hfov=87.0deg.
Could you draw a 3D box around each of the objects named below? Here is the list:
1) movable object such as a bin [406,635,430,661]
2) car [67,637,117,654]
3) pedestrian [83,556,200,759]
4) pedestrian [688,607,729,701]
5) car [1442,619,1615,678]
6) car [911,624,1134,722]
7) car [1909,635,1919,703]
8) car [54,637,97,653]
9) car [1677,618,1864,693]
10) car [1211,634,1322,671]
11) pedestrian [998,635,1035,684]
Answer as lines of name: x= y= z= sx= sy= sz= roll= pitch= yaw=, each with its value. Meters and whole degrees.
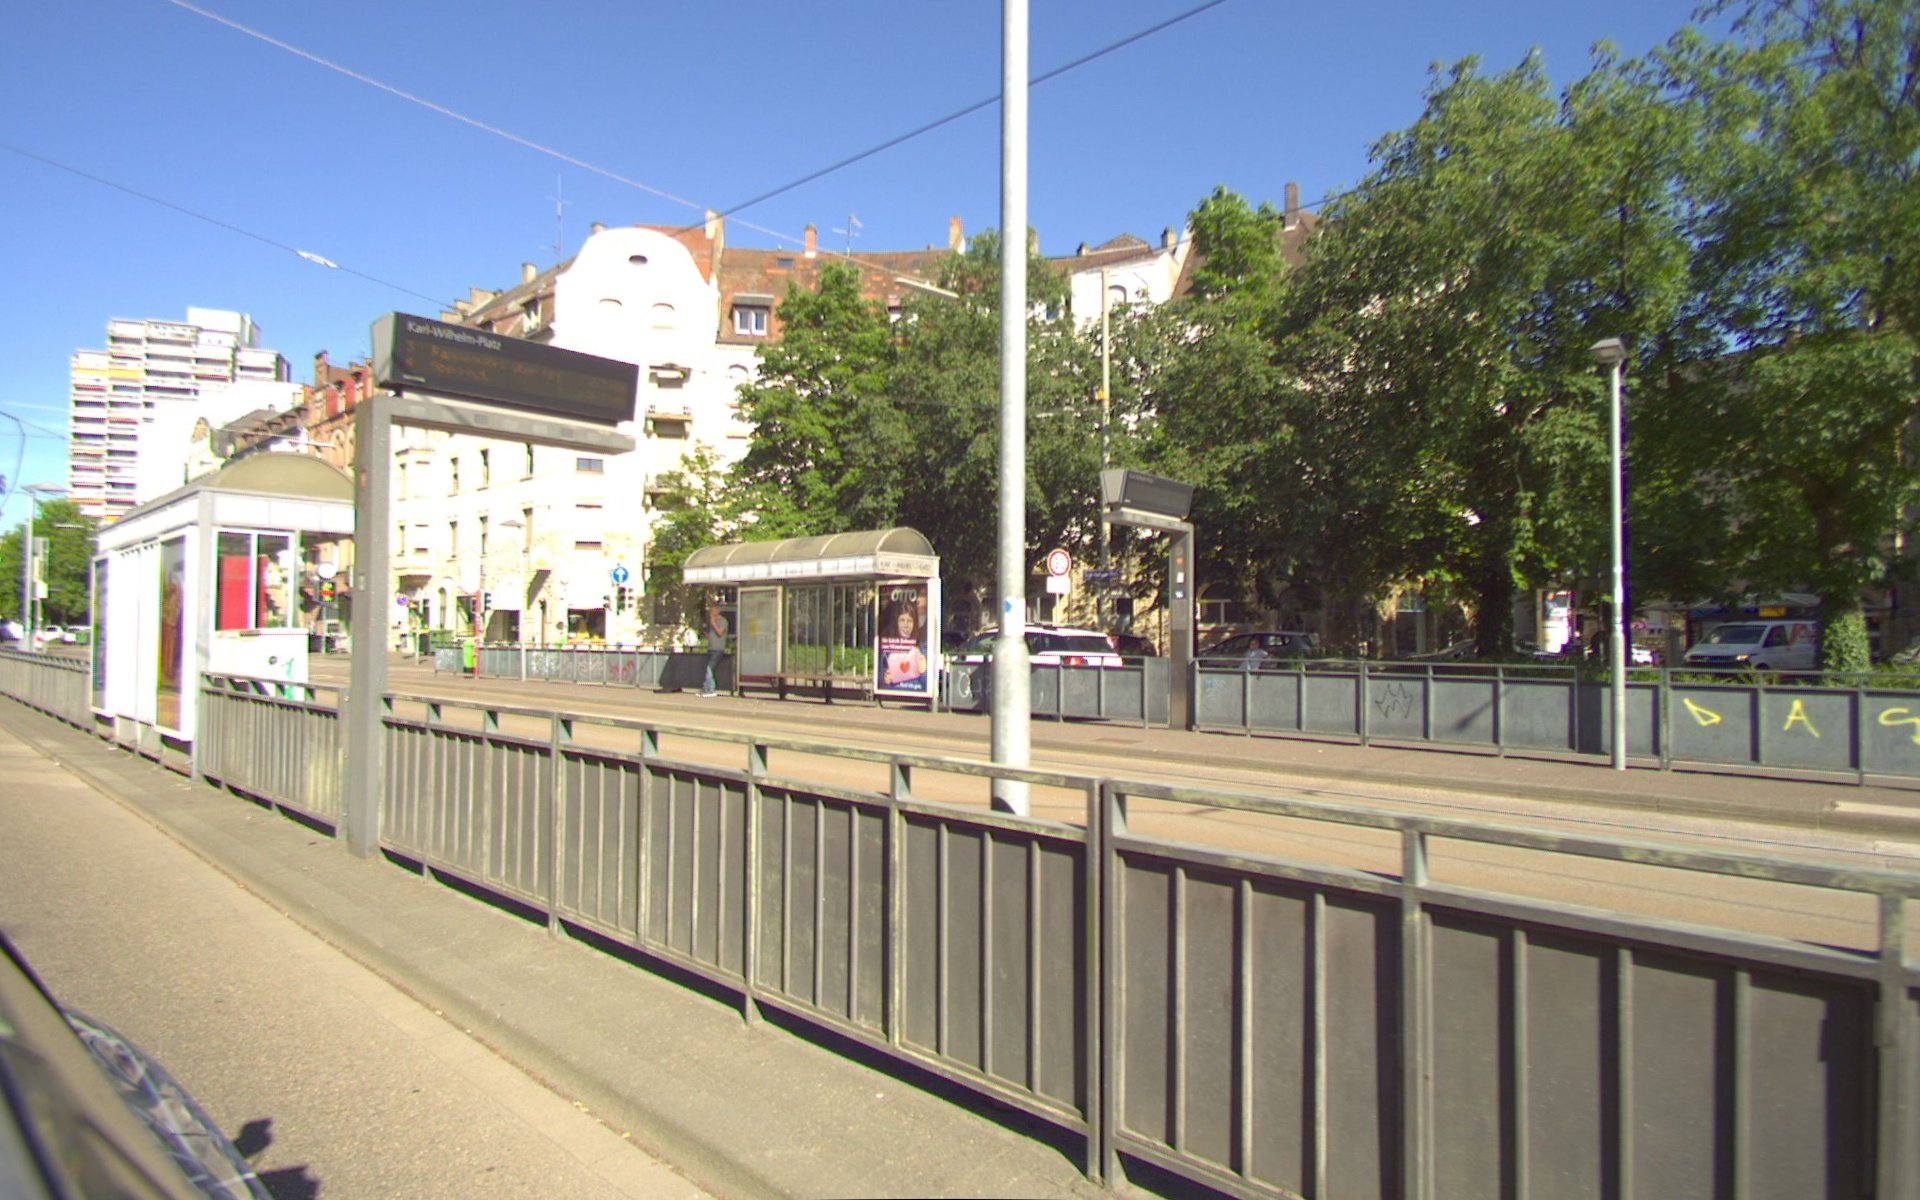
movable object such as a bin: x=-27.690 y=2.437 z=51.685 sx=0.747 sy=1.318 sz=0.867 roll=-2 pitch=-1 yaw=36
car: x=-81.310 y=4.252 z=94.836 sx=3.168 sy=1.431 sz=1.574 roll=-1 pitch=-1 yaw=-16
pedestrian: x=-8.080 y=0.535 z=9.985 sx=0.896 sy=1.886 sz=0.763 roll=-2 pitch=0 yaw=44
pedestrian: x=-4.900 y=1.045 z=19.688 sx=0.673 sy=1.798 sz=0.460 roll=-2 pitch=-3 yaw=41
car: x=16.367 y=1.400 z=29.339 sx=3.974 sy=1.554 sz=1.733 roll=1 pitch=-3 yaw=11
car: x=1.022 y=1.232 z=17.923 sx=1.671 sy=1.552 sz=3.801 roll=4 pitch=-4 yaw=-44
car: x=20.701 y=1.463 z=20.417 sx=1.574 sy=1.453 sz=3.418 roll=-1 pitch=-1 yaw=32
car: x=-84.882 y=4.261 z=97.134 sx=1.545 sy=1.431 sz=3.226 roll=-1 pitch=-1 yaw=-5
car: x=23.272 y=1.526 z=29.070 sx=4.774 sy=1.957 sz=1.931 roll=0 pitch=-1 yaw=-20
car: x=9.888 y=1.665 z=32.665 sx=3.136 sy=1.104 sz=1.452 roll=-1 pitch=-1 yaw=34
pedestrian: x=1.519 y=1.587 z=27.143 sx=0.724 sy=1.291 sz=0.650 roll=-2 pitch=-1 yaw=42
